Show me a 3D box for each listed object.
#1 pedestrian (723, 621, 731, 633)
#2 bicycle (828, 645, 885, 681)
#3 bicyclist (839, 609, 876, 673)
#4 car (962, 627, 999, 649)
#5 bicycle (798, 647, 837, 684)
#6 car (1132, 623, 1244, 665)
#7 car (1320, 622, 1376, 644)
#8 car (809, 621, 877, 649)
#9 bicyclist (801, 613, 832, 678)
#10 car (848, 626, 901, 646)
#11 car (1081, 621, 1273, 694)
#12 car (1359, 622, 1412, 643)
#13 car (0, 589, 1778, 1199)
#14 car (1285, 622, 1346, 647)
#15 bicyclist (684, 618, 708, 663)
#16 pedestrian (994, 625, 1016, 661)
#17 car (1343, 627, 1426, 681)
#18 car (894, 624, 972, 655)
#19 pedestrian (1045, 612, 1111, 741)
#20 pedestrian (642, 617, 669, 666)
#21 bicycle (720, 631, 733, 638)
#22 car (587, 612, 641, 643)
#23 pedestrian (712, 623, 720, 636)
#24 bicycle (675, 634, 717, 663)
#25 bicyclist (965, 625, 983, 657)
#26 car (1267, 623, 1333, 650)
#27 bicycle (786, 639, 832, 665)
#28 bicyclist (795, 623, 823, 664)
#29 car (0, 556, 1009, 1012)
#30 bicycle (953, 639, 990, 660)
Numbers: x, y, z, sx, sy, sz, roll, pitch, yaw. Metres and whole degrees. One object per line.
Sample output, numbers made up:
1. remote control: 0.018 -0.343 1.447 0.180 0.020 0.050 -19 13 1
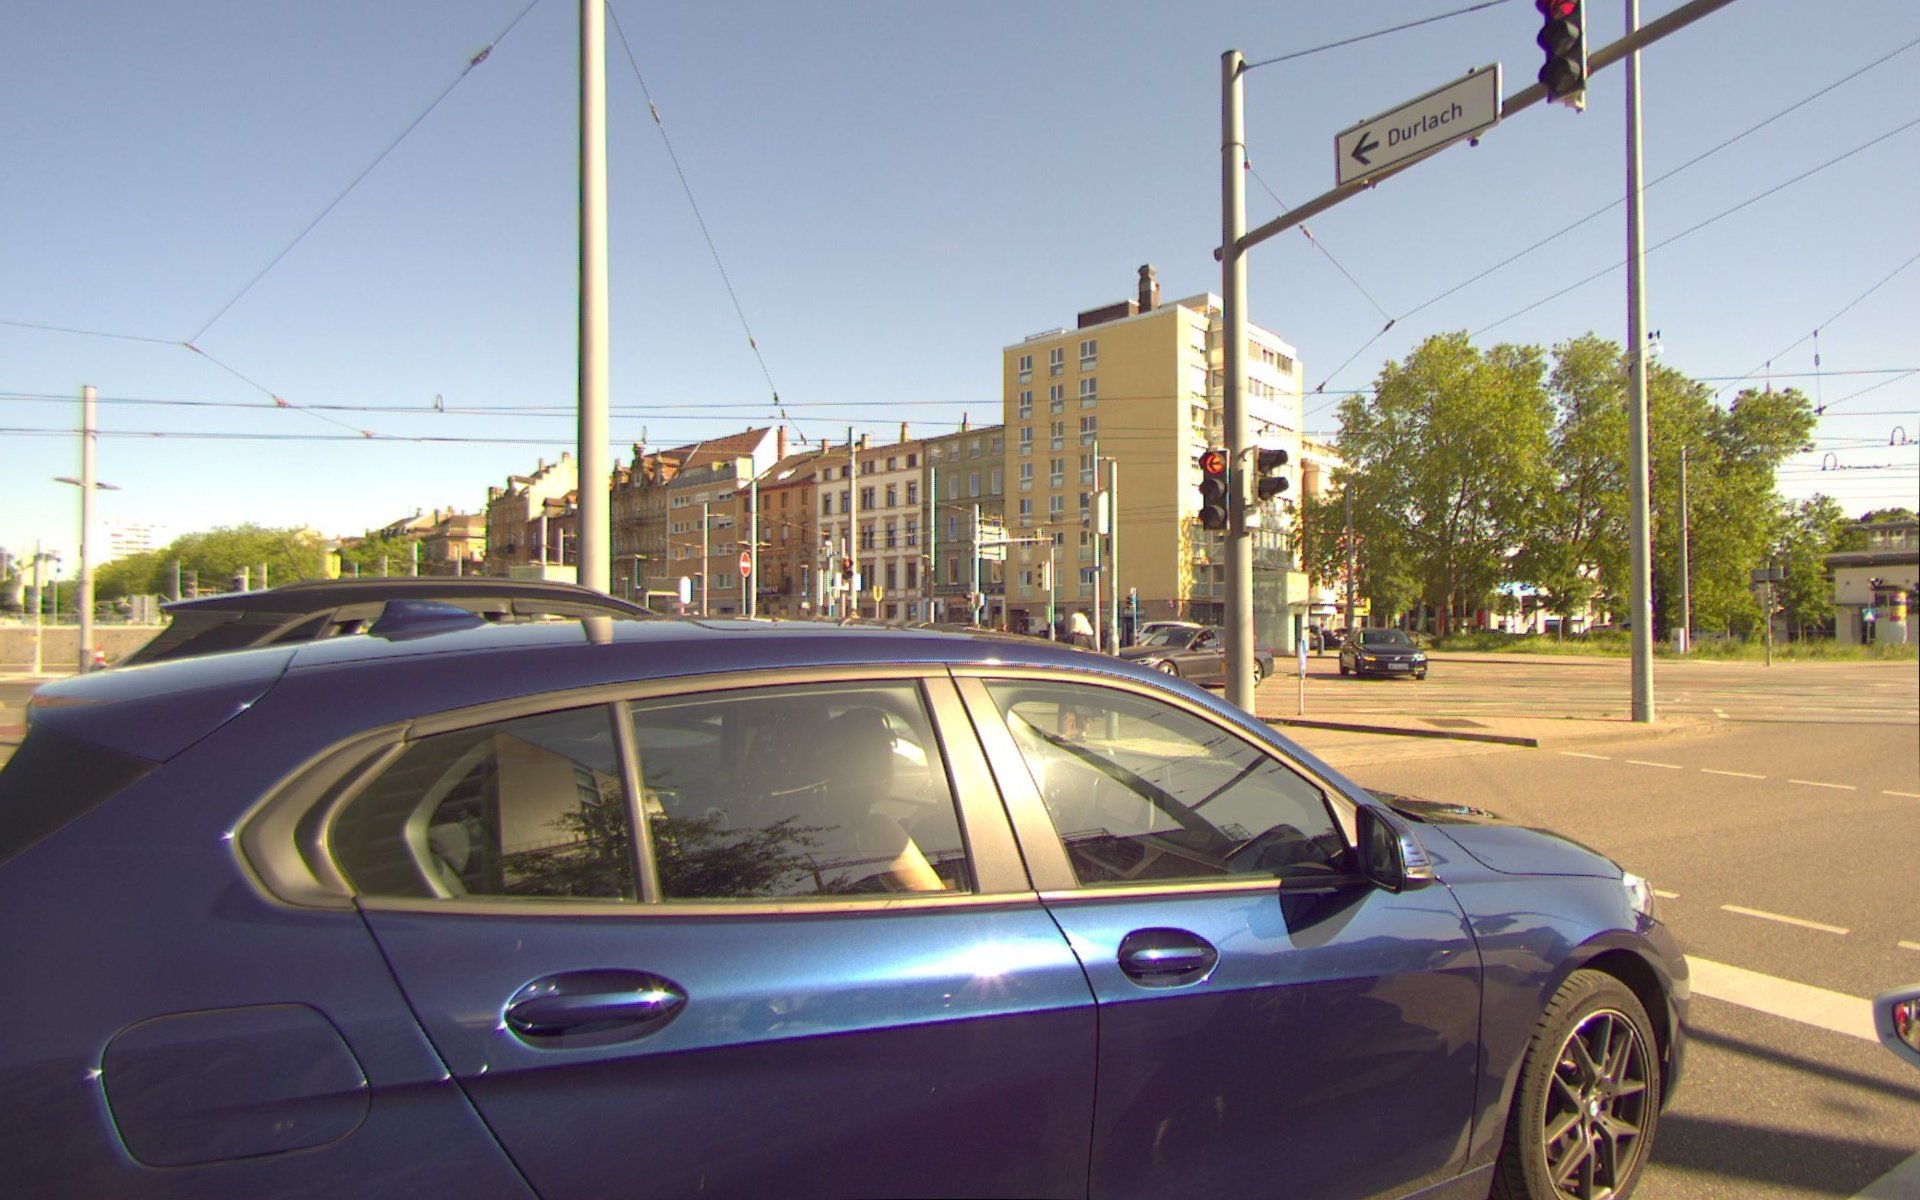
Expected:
1. pedestrian: -22.698 2.665 97.809 0.739 1.142 0.421 -1 -2 43
2. bicycle: -2.757 1.657 26.591 0.672 0.890 1.880 1 -2 -35
3. bicyclist: -2.708 1.073 26.533 0.672 1.676 0.777 1 -1 -35
4. car: 1.364 2.522 66.987 1.745 1.446 3.873 0 -2 -10
5. bicycle: -3.738 1.680 26.191 0.668 0.890 1.890 1 -2 -19
6. car: 9.532 1.801 42.109 4.239 1.675 1.851 -1 -2 37
7. car: 29.889 2.551 77.385 3.691 1.684 1.586 -1 -2 42
8. car: -7.283 2.169 62.271 4.244 1.675 1.849 -1 -2 40
9. bicyclist: -3.753 1.187 26.238 0.668 1.676 0.782 0 -1 -19
10. car: -6.304 2.683 74.481 1.749 1.446 3.863 -1 -2 39
11. car: 5.084 1.273 23.279 4.524 1.521 1.846 1 -2 -36
12. car: 34.874 2.691 82.420 3.691 1.684 1.586 -1 -2 42
13. car: 0.121 0.757 2.533 3.984 1.464 1.703 1 0 -30
14. car: 24.420 2.386 69.069 3.691 1.684 1.586 -1 -2 42
15. bicyclist: -10.366 1.588 39.439 0.609 1.735 0.675 -1 -2 41
16. pedestrian: 2.043 1.922 45.229 0.669 1.593 0.740 1 -2 -45
17. car: 12.335 1.516 29.383 1.693 1.457 4.179 0 -2 15
18. car: -1.544 2.183 56.316 4.246 1.675 1.848 -1 -2 42
19. pedestrian: 1.480 0.949 12.585 0.748 1.575 0.356 0 -1 -15
20. pedestrian: -10.983 1.489 36.227 0.672 1.735 0.793 1 -2 -38
21. bicycle: -22.773 3.351 97.865 1.611 0.727 0.421 -1 -2 43
22. car: -31.894 2.564 92.459 5.838 2.780 2.133 -1 -2 42
23. pedestrian: -23.492 2.859 96.706 0.739 1.220 0.422 -1 -2 42
24. bicycle: -10.361 1.894 39.438 1.871 1.120 0.675 -1 -2 42
25. bicyclist: 0.624 1.863 46.275 0.609 1.462 0.614 1 -1 -30
26. car: 21.600 2.296 63.875 3.691 1.684 1.586 -1 -2 42
27. bicycle: -5.548 1.892 36.820 1.873 0.890 0.674 -1 -2 45
28. bicyclist: -5.545 1.584 36.838 0.774 1.474 0.674 -1 -2 45
29. car: -1.895 0.658 5.100 3.959 1.537 1.751 1 -1 -28
30. bicycle: 0.536 2.269 46.208 1.666 0.958 0.614 1 -2 -30
